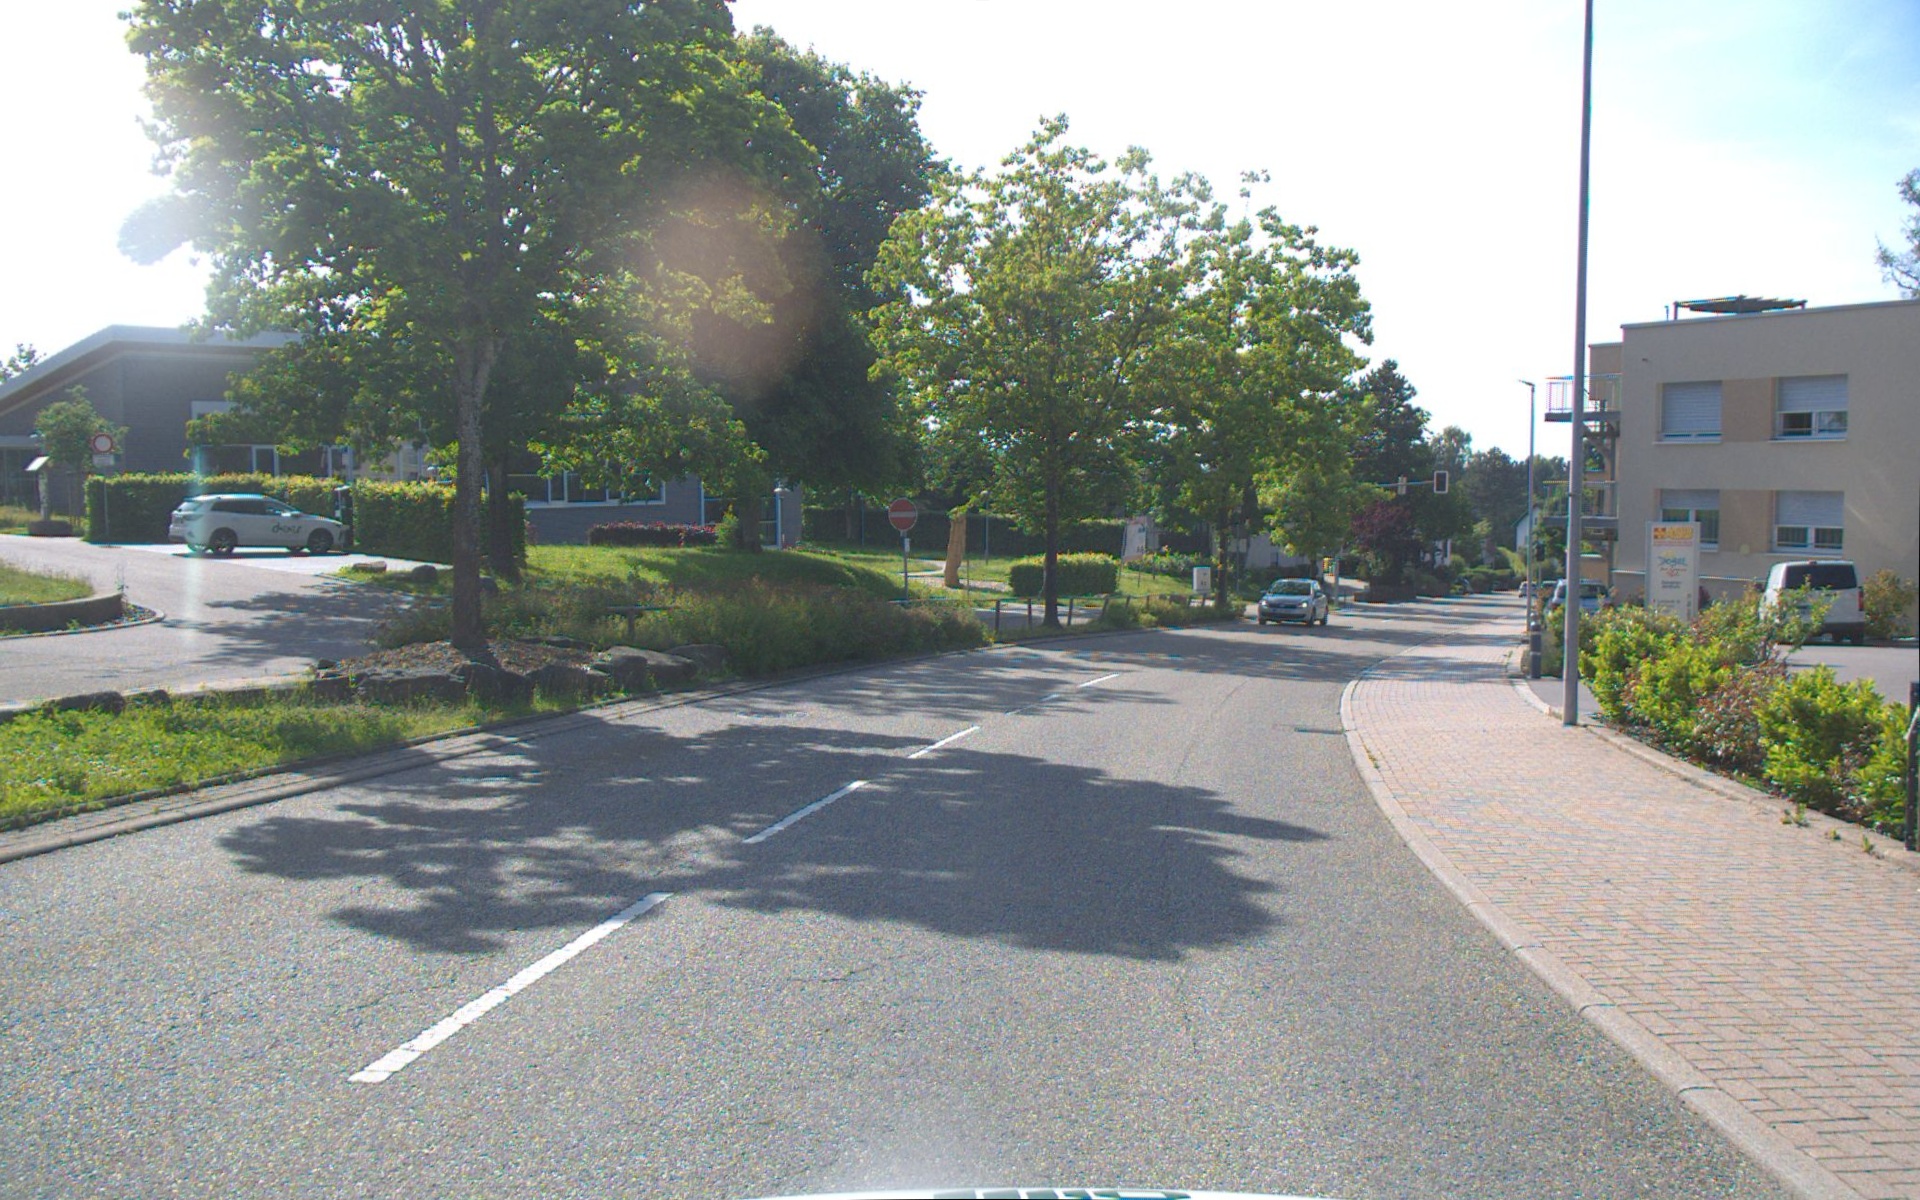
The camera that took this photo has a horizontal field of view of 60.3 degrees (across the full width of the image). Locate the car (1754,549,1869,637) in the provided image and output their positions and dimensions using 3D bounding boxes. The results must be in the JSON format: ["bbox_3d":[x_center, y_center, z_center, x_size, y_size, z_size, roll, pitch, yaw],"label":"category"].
[{"bbox_3d":[20.243,-0.203,39.495,1.766,1.968,4.736,1,1,19],"label":"car"}]

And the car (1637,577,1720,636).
[{"bbox_3d":[18.912,0.140,43.661,1.672,1.452,4.009,1,1,19],"label":"car"}]

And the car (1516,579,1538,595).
[{"bbox_3d":[54.816,-1.263,159.851,1.673,1.452,4.006,1,1,23],"label":"car"}]

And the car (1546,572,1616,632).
[{"bbox_3d":[16.978,0.024,45.347,1.672,1.562,4.009,1,1,19],"label":"car"}]

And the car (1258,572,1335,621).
[{"bbox_3d":[10.920,-0.145,53.531,1.694,1.468,4.065,3,2,22],"label":"car"}]

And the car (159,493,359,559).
[{"bbox_3d":[-19.218,-2.085,45.477,1.968,1.559,4.697,8,9,44],"label":"car"}]

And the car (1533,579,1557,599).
[{"bbox_3d":[44.487,-0.833,125.793,1.672,1.452,4.009,1,1,19],"label":"car"}]
